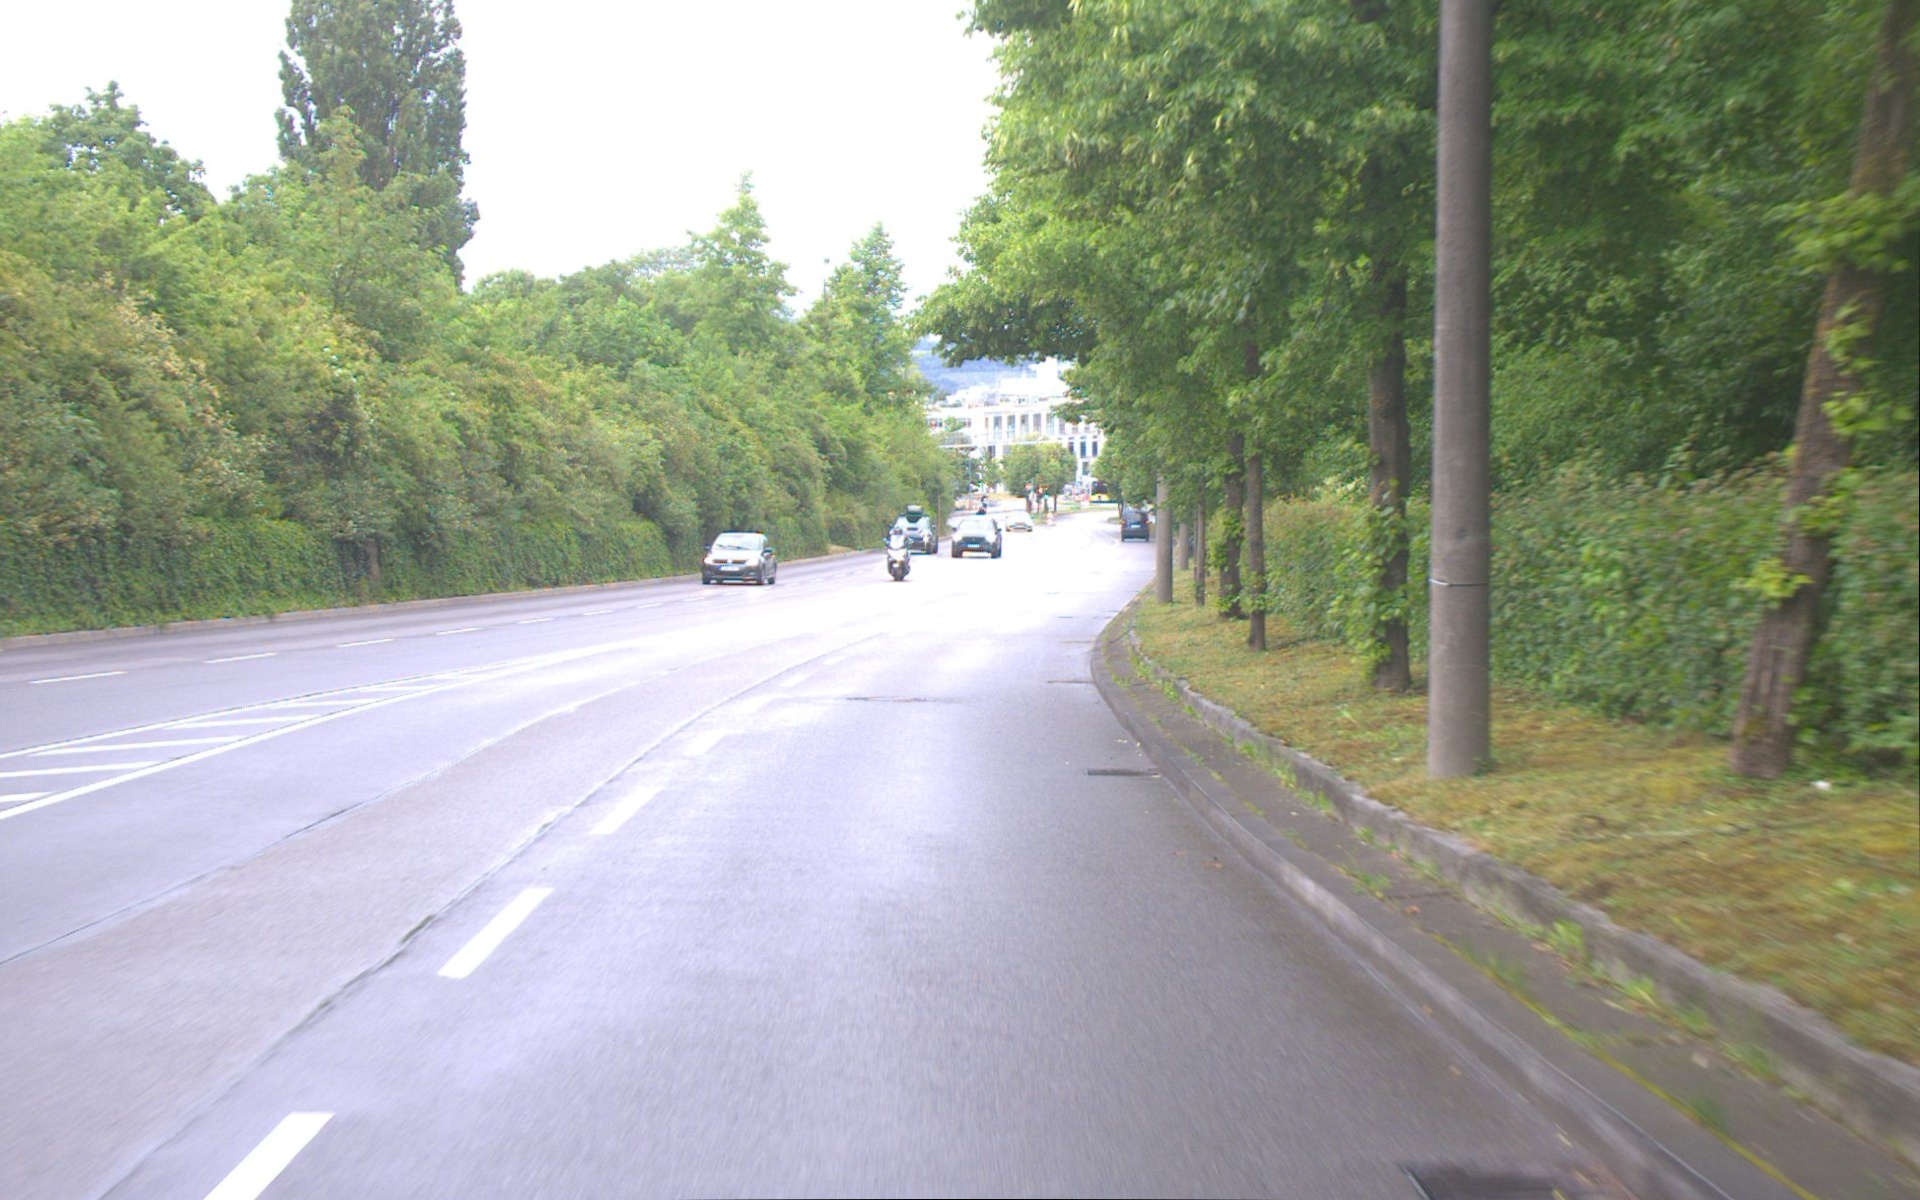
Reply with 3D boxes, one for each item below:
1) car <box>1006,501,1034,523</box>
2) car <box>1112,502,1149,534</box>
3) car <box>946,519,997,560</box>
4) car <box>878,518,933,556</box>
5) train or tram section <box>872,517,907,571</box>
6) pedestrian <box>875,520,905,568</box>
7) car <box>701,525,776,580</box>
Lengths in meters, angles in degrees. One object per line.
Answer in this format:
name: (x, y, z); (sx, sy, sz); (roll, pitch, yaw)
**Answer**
car: (4.413, -6.462, 251.472); (1.715, 1.500, 4.516); (3, 2, 4)
car: (9.909, -4.720, 199.068); (1.849, 1.696, 3.792); (3, 0, 6)
car: (0.507, -2.557, 145.493); (1.812, 1.652, 4.595); (2, 1, 4)
car: (-2.356, -2.725, 149.501); (1.899, 1.547, 4.630); (3, 1, 4)
train or tram section: (-2.096, -1.670, 102.874); (0.791, 1.564, 2.383); (3, 1, 3)
pedestrian: (-2.092, -1.670, 102.880); (0.791, 1.379, 0.974); (3, 1, 3)
car: (-6.014, -1.280, 93.564); (1.549, 1.432, 3.696); (2, 1, 3)
